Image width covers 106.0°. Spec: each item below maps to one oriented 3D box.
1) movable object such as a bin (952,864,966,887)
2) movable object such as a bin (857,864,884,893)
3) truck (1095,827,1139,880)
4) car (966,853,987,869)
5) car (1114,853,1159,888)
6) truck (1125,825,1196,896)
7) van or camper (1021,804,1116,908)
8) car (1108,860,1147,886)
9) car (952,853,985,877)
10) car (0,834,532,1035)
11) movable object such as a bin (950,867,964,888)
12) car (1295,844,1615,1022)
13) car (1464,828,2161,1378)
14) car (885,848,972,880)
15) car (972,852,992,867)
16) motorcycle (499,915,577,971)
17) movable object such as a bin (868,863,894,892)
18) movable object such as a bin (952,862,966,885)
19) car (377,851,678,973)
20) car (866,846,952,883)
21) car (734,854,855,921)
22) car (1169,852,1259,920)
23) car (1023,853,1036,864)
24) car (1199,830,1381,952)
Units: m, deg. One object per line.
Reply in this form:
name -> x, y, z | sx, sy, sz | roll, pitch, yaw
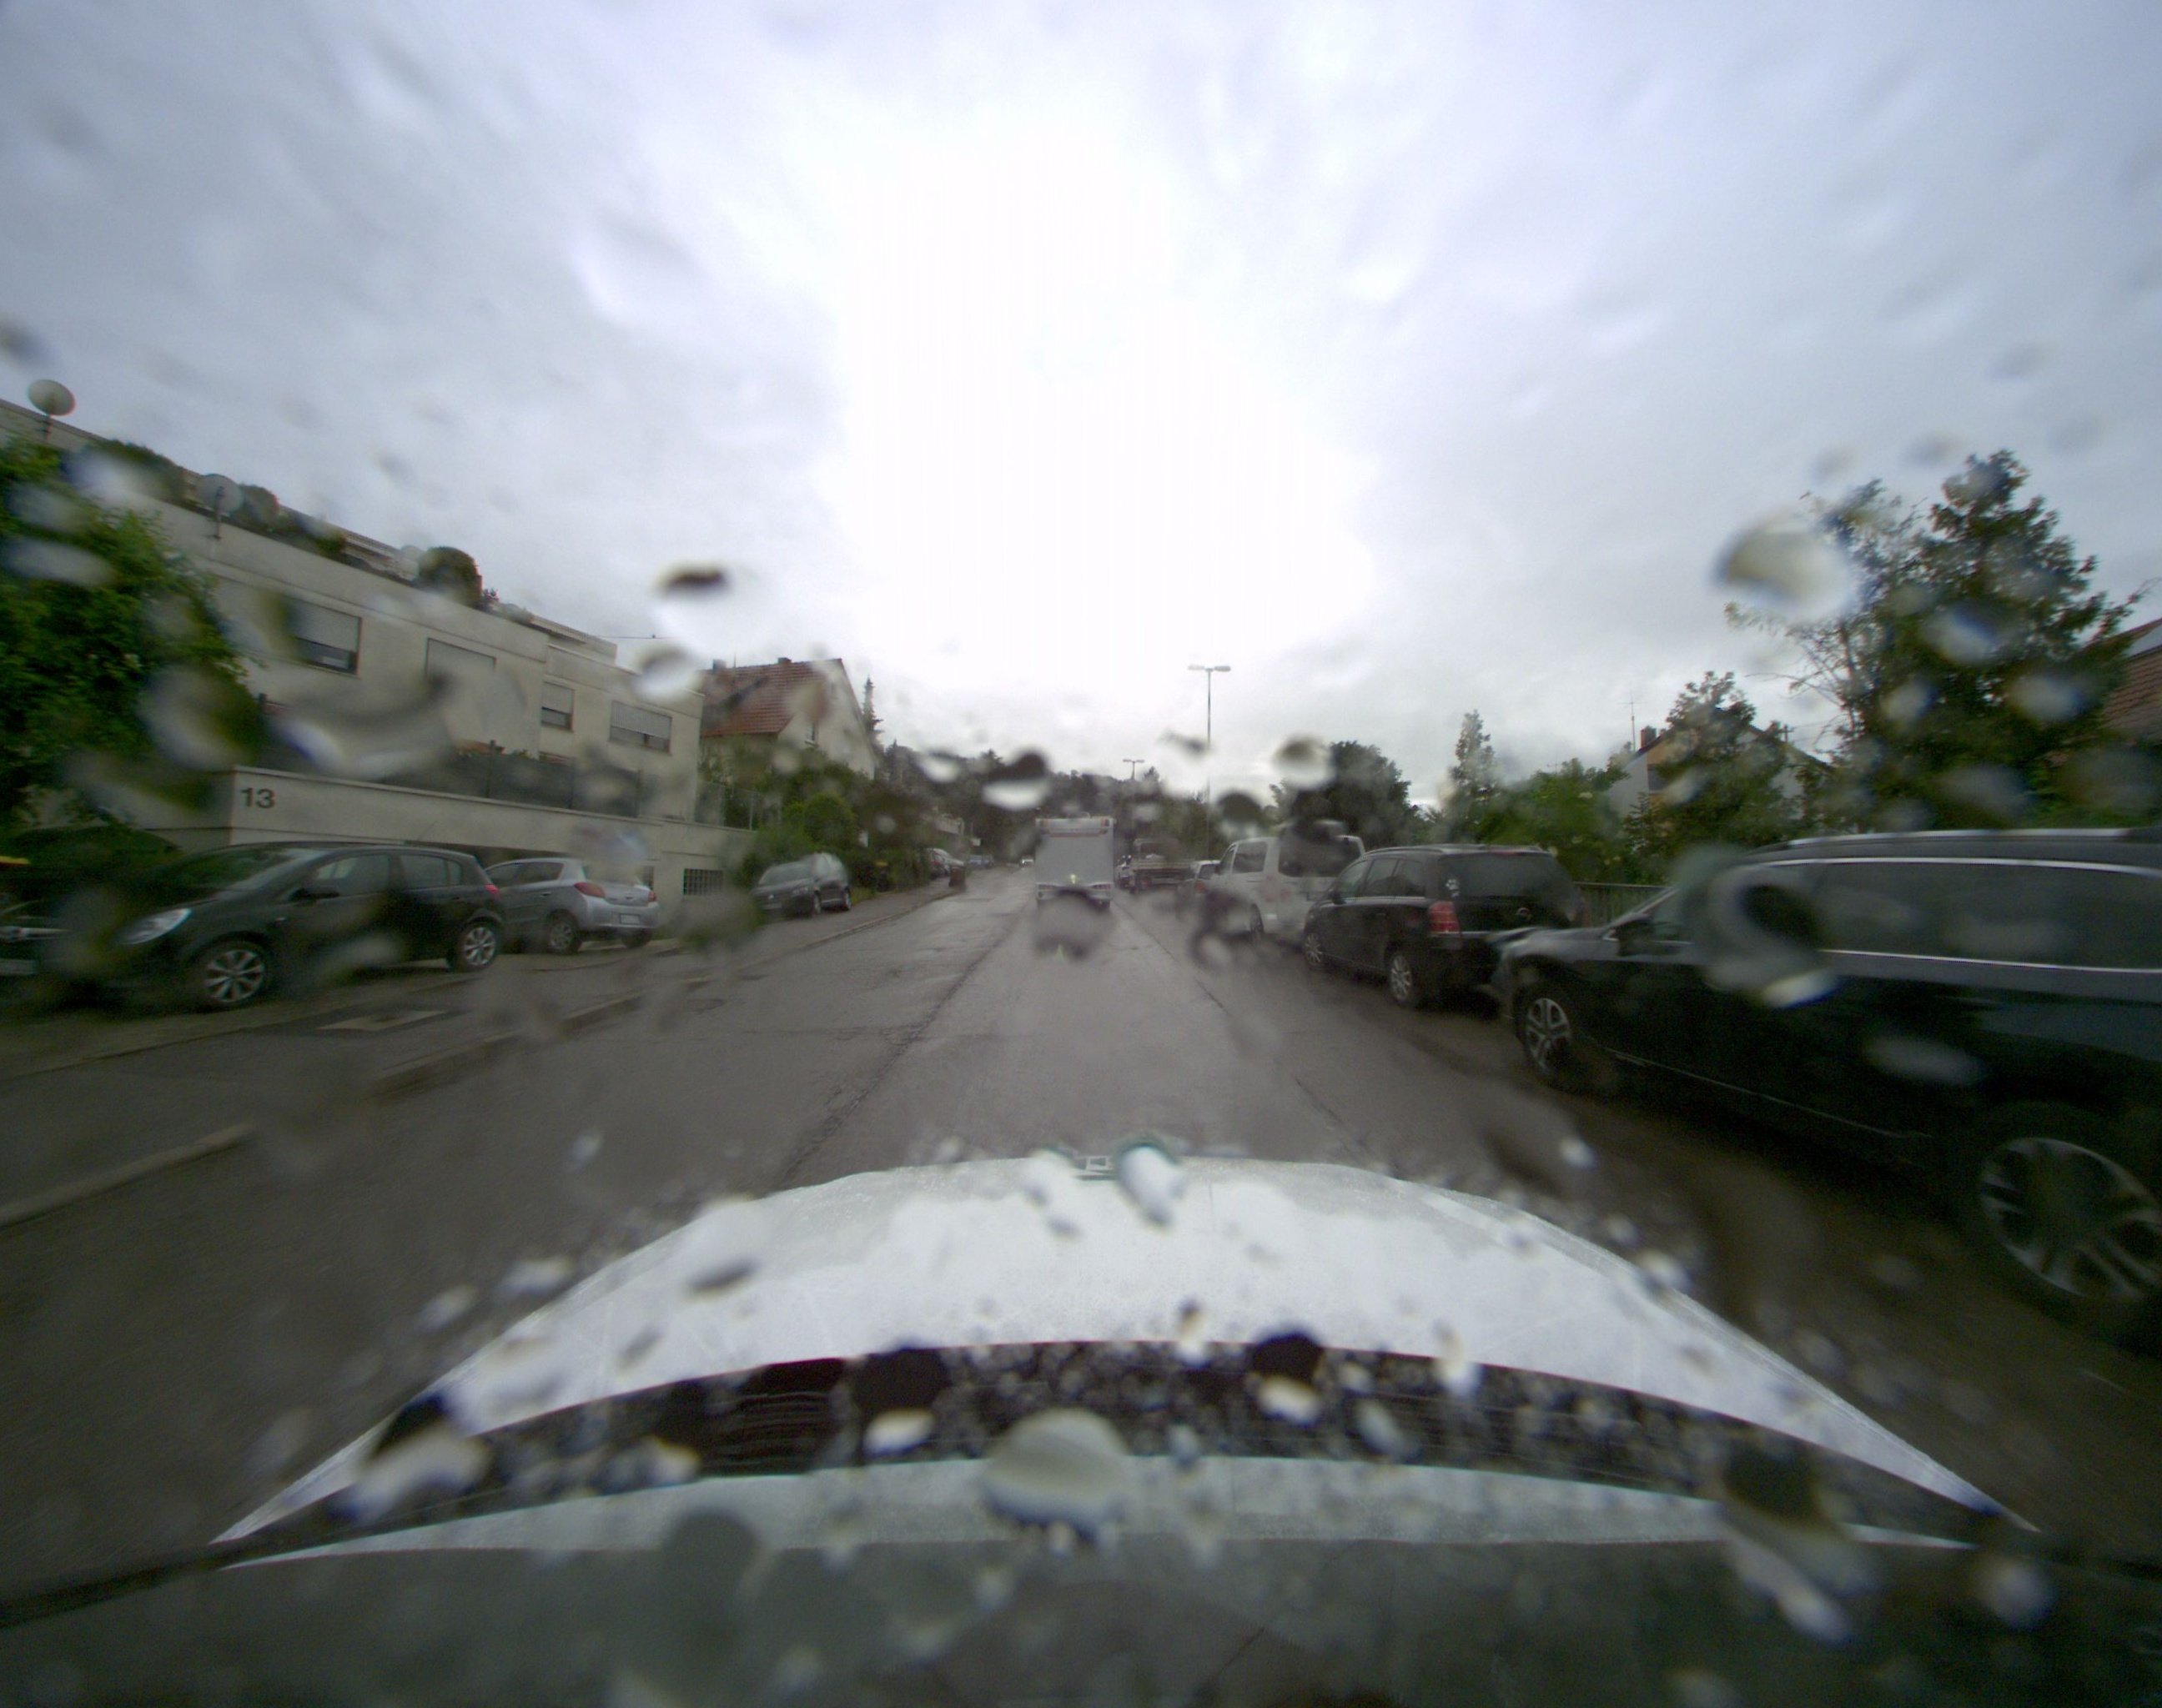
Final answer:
movable object such as a bin -> -5.818, 1.021, 39.010 | 0.601, 1.064, 0.697 | 1, 0, -6
movable object such as a bin -> -7.939, 0.913, 30.728 | 0.692, 1.083, 0.712 | -1, 0, 17
truck -> 2.366, 0.023, 56.174 | 2.429, 3.335, 7.959 | -1, -1, -2
car -> -10.344, 0.649, 80.896 | 1.603, 1.434, 3.955 | 4, 0, -2
car -> 2.698, 0.797, 40.768 | 1.755, 1.604, 4.662 | -1, -1, -2
truck -> 3.139, 0.281, 33.643 | 2.232, 2.631, 6.536 | -1, -1, 0
van or camper -> -0.383, 0.145, 25.785 | 2.608, 2.853, 6.027 | 1, -2, -1
car -> 2.730, 1.130, 48.601 | 1.827, 1.438, 4.982 | -1, -1, -2
car -> -8.570, 0.854, 62.344 | 1.683, 1.588, 4.198 | 7, 0, 2
car -> -7.909, 0.587, 8.027 | 1.757, 1.376, 4.254 | 3, 0, 5
movable object such as a bin -> -5.725, 1.077, 37.564 | 0.601, 0.928, 0.563 | 1, -1, -6
car -> 3.878, 0.720, 9.370 | 1.639, 1.541, 4.352 | -1, -1, -1
car -> 3.846, 0.690, 3.843 | 1.810, 1.506, 4.722 | -1, -1, -1
car -> -9.781, 0.647, 52.345 | 5.048, 1.944, 2.150 | -1, -1, 14
car -> -10.504, 0.582, 86.925 | 1.628, 1.396, 4.236 | 4, 0, -1
motorcycle -> -13.368, 2.170, 20.050 | 1.871, 1.251, 0.649 | -1, -1, 23
movable object such as a bin -> -7.724, 0.908, 31.437 | 0.692, 1.083, 0.712 | -1, 0, 17
movable object such as a bin -> -5.755, 0.931, 38.369 | 0.601, 1.064, 0.637 | 1, -1, -6
car -> -8.875, 0.913, 13.173 | 3.800, 1.478, 1.810 | -7, -2, 13
car -> -9.251, 0.572, 43.983 | 4.028, 1.692, 1.899 | 4, -1, 11
car -> -7.575, 0.830, 21.980 | 1.798, 1.597, 4.414 | -1, -1, -2
car -> 3.319, 0.770, 20.972 | 1.643, 1.563, 3.962 | -1, -1, 0
car -> -7.599, 0.700, 121.008 | 1.902, 1.607, 4.422 | 1, 0, -4
car -> 3.635, 0.598, 15.219 | 1.845, 1.882, 4.903 | -1, -1, -4
